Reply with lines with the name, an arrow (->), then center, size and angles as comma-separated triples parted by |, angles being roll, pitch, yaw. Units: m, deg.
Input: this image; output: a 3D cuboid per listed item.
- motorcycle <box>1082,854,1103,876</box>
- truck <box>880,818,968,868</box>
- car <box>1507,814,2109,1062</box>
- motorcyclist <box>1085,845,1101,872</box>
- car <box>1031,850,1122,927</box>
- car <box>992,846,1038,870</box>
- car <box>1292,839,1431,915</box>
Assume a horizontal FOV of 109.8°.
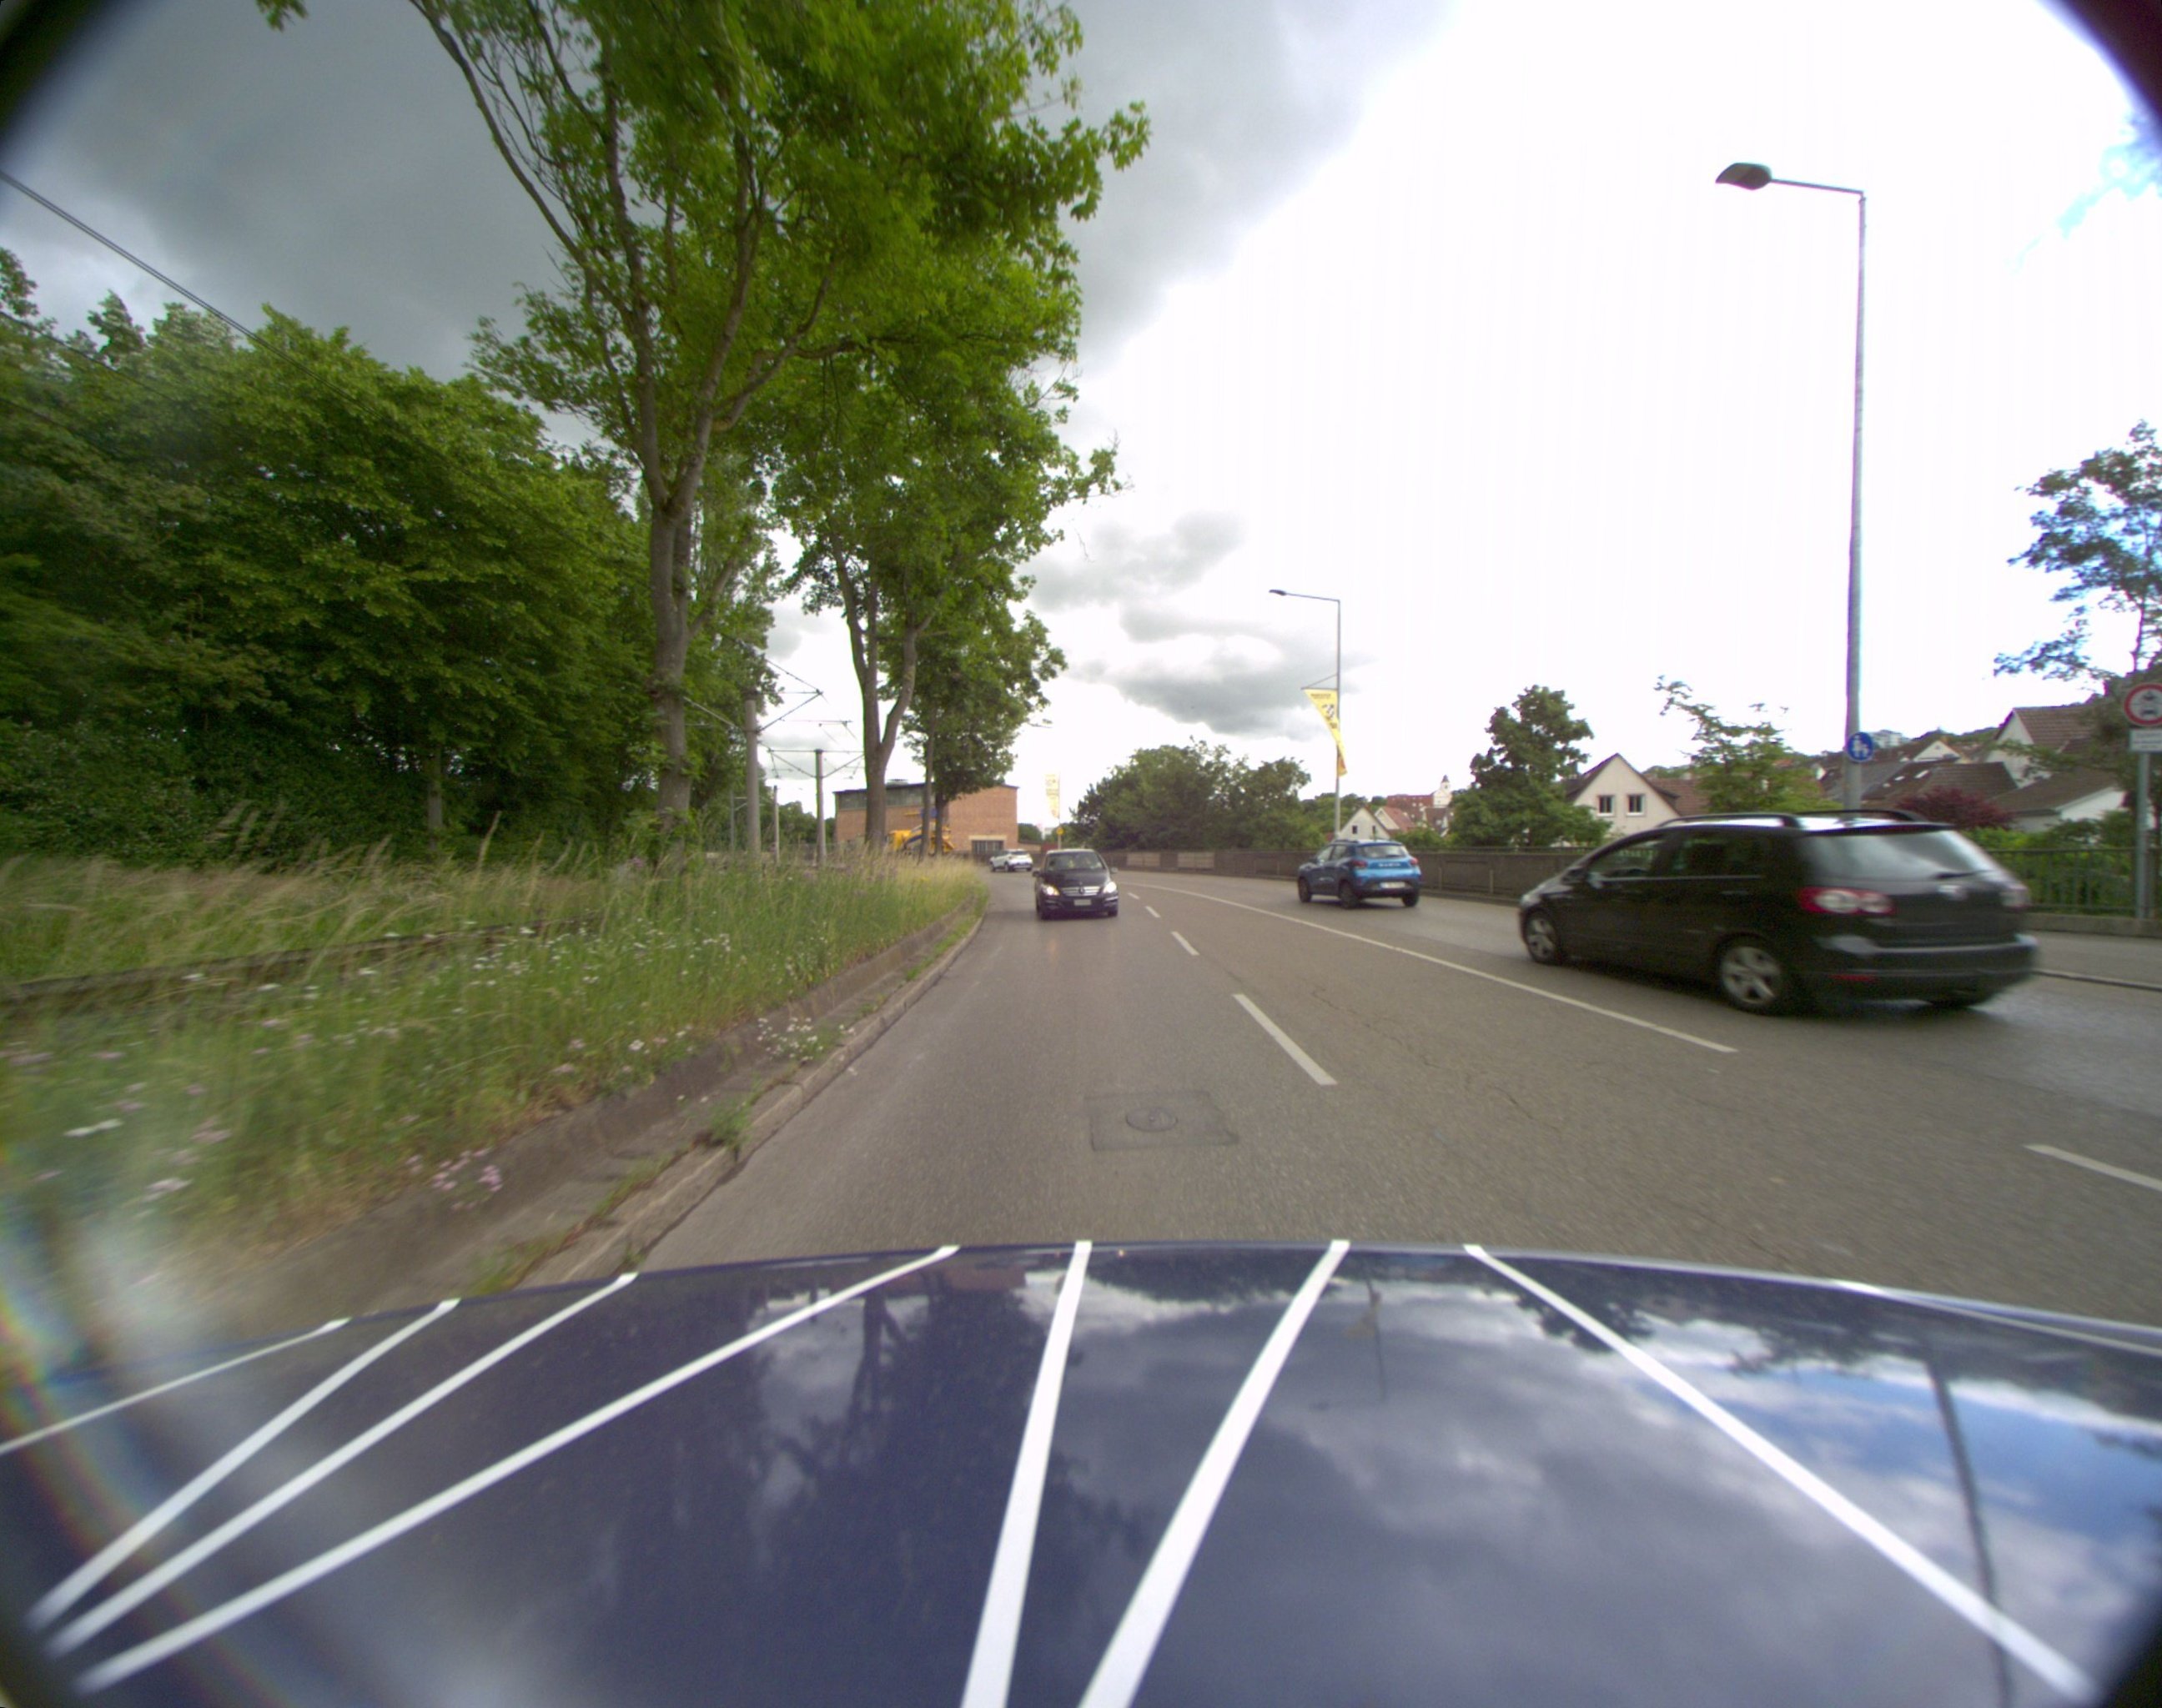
motorcycle -> 0.571, 0.558, 38.483 | 0.685, 1.055, 1.717 | -1, 1, -13
truck -> -13.737, -0.851, 65.587 | 2.682, 3.916, 10.111 | -5, 2, -40
car -> 5.981, 0.540, 7.069 | 1.724, 1.598, 4.013 | -2, 1, -1
motorcyclist -> 0.588, 0.232, 38.311 | 0.621, 1.348, 0.839 | -1, 1, -14
car -> -0.229, 0.721, 18.369 | 1.752, 1.556, 4.072 | -3, 1, -6
car -> -4.562, 0.261, 51.876 | 1.755, 1.478, 3.646 | -3, 1, -28
car -> 6.260, 0.462, 17.399 | 1.585, 1.477, 3.694 | -3, 1, -4
